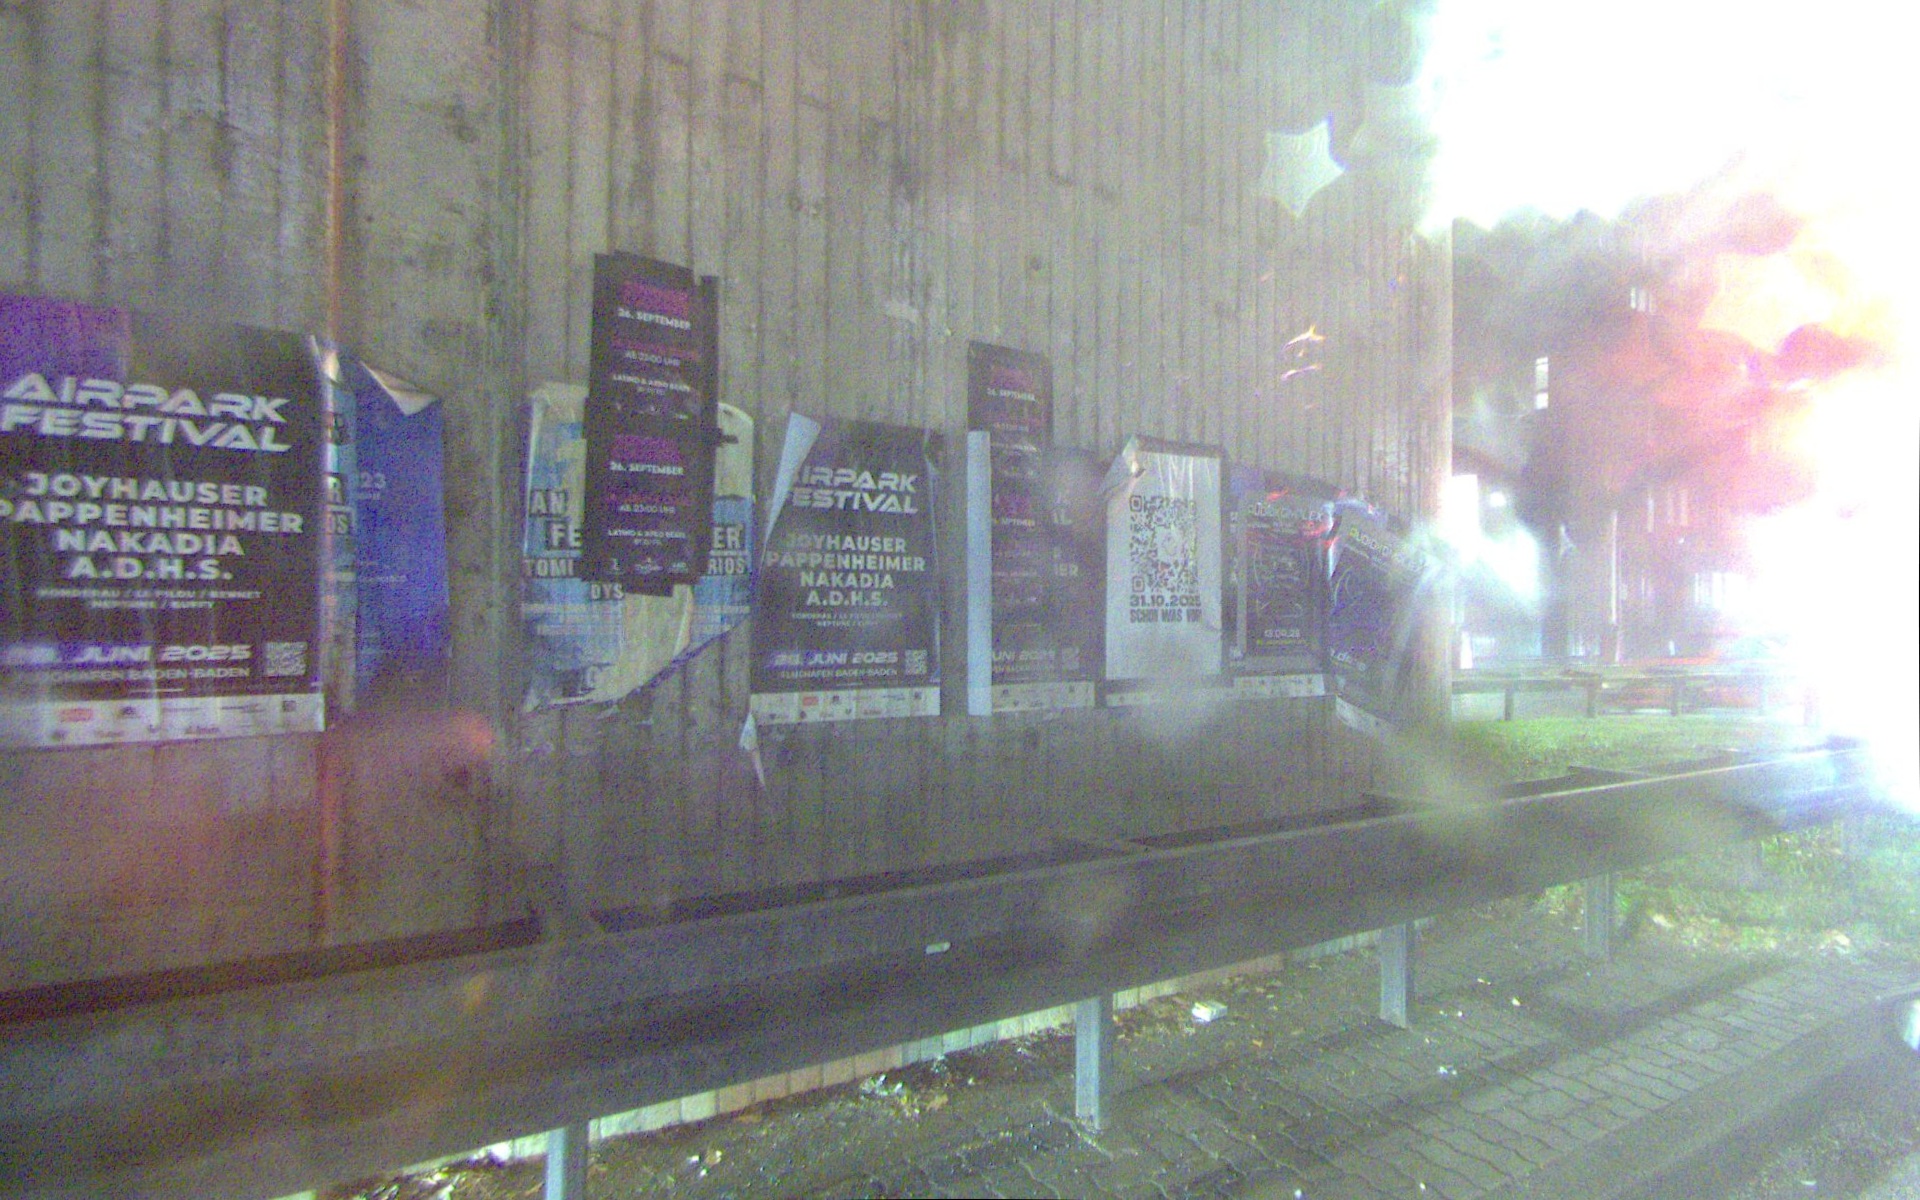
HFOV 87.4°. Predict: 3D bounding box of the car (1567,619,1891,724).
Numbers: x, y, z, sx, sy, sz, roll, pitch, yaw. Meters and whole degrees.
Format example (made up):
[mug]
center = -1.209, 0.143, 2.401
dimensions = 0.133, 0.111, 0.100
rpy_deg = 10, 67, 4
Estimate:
[car]
center = 13.024, 1.197, 17.232
dimensions = 4.000, 1.609, 1.913
rpy_deg = -1, -2, 2
